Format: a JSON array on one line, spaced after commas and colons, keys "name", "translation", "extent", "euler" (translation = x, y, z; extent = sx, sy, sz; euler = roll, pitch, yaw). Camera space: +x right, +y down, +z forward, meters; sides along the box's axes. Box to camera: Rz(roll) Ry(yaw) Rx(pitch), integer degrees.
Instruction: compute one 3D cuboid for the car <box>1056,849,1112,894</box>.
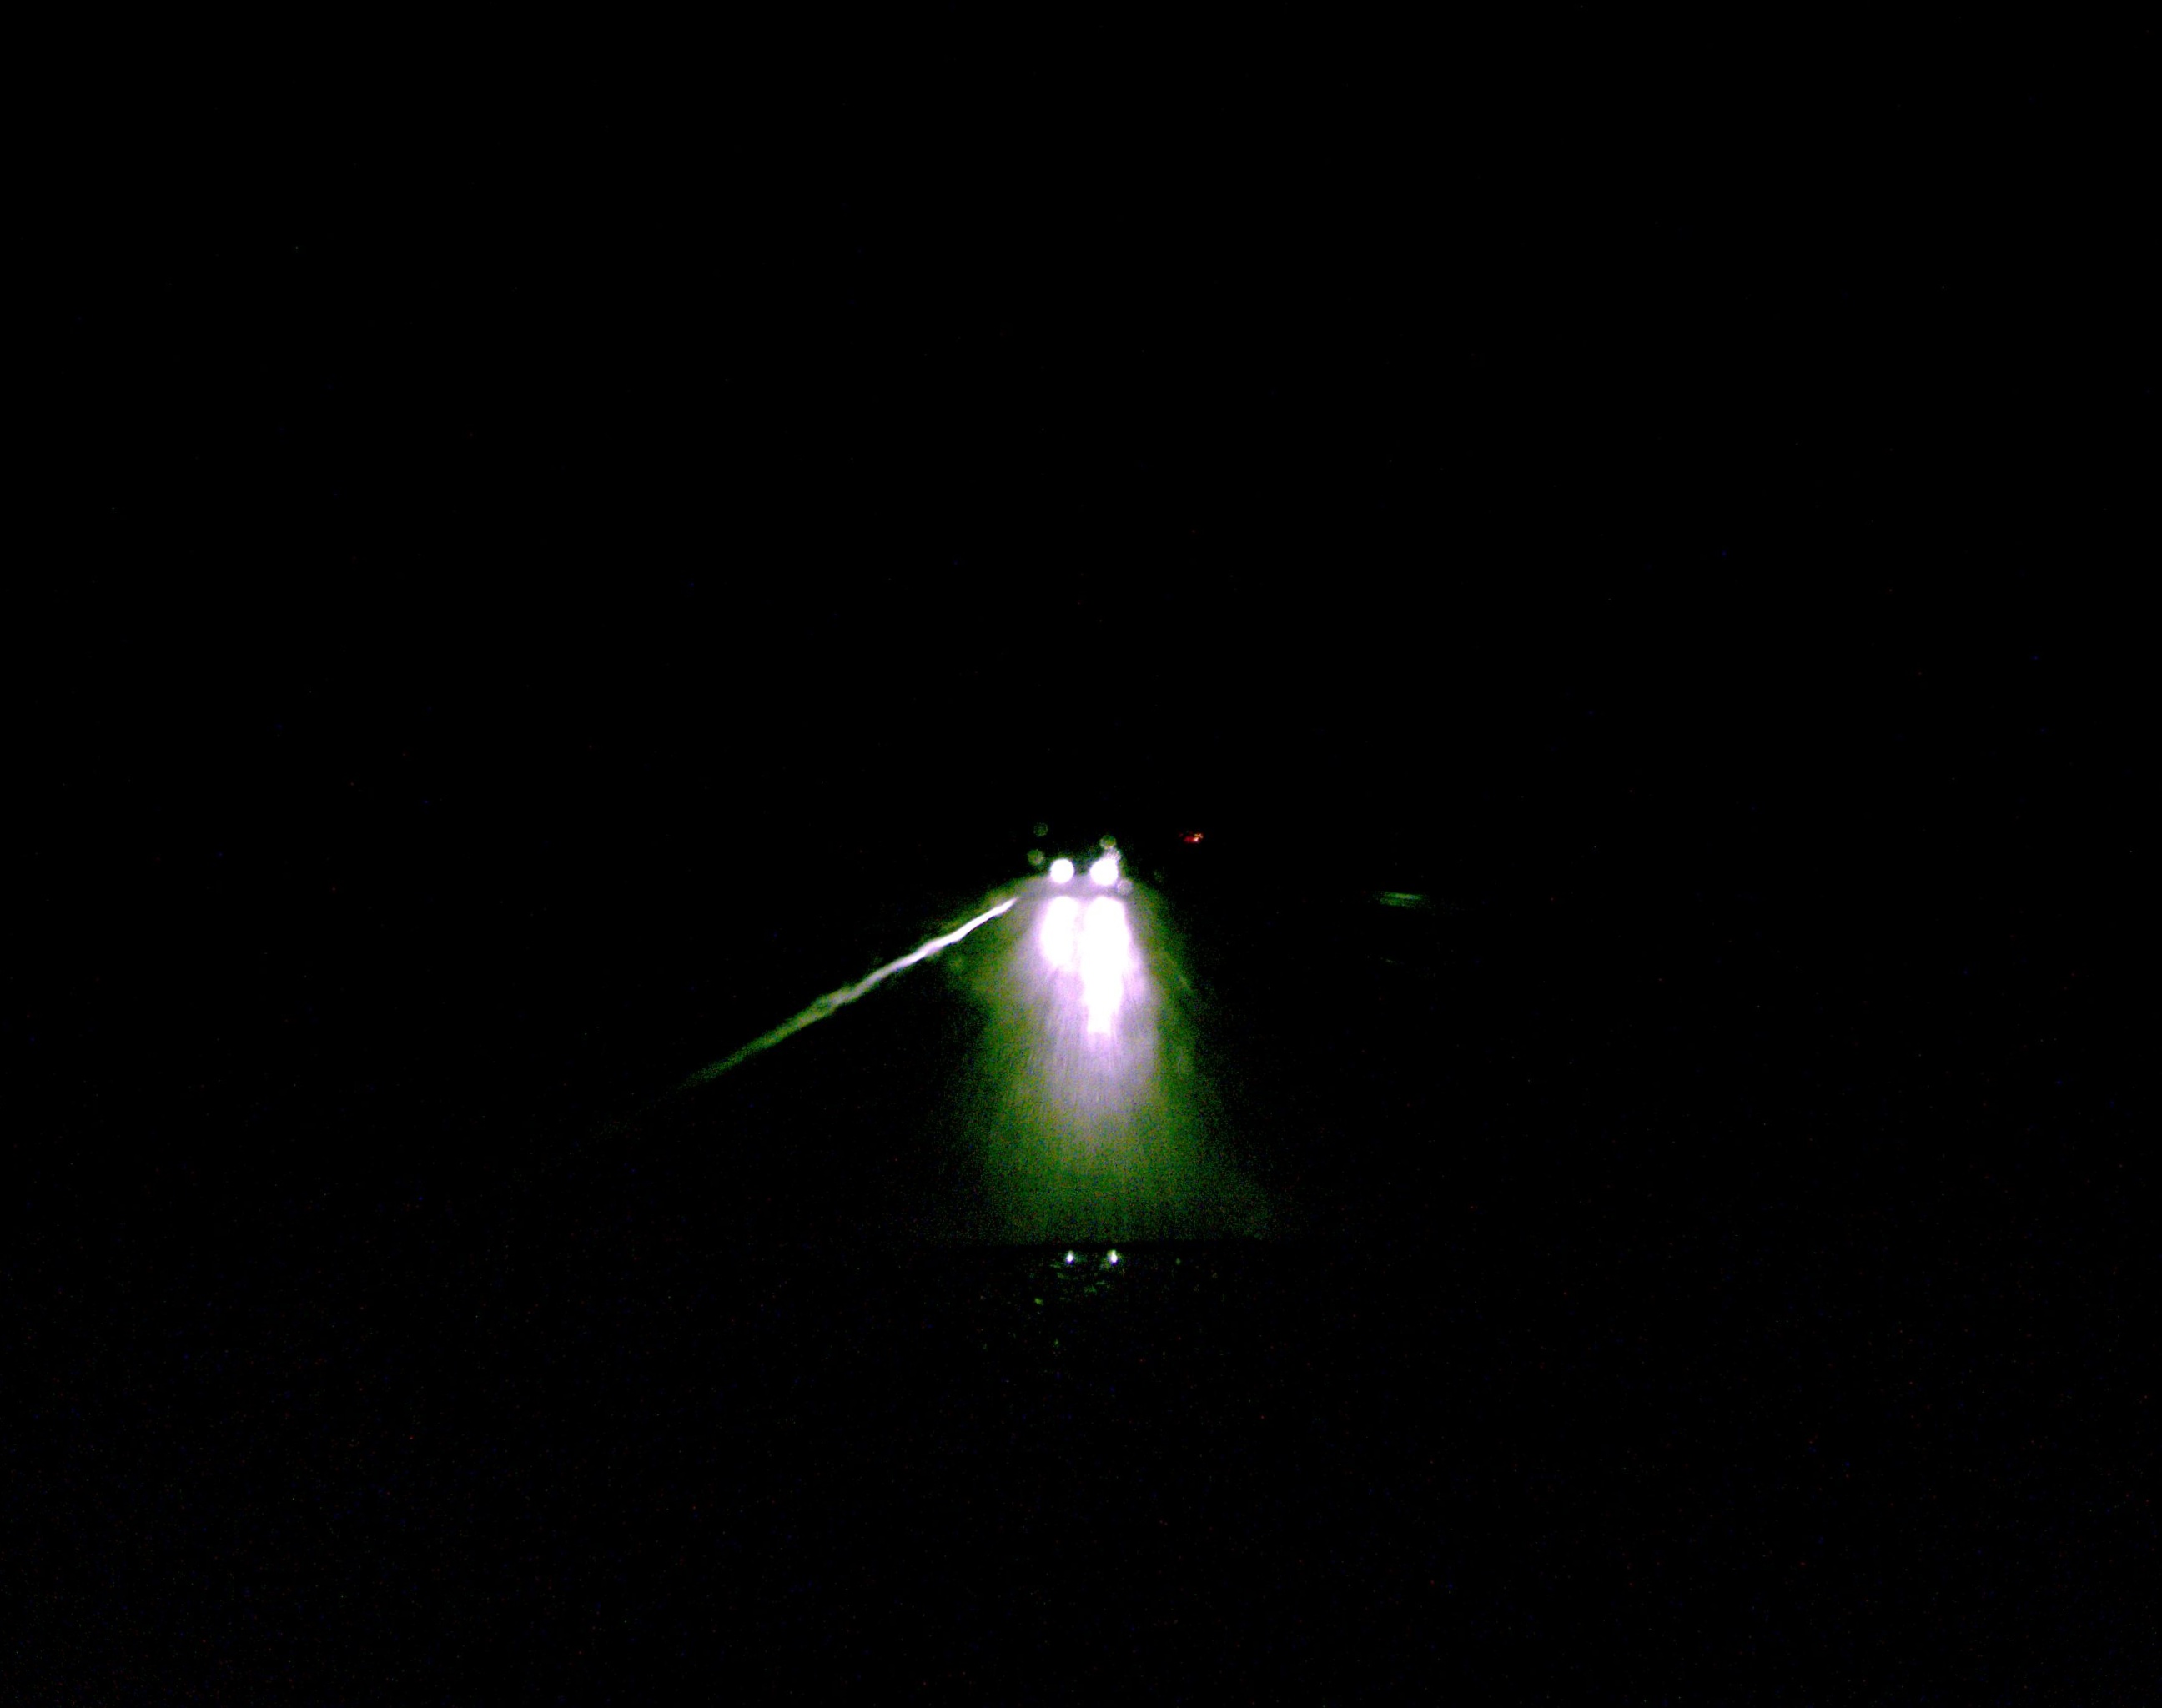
[{"name": "car", "translation": [0.196, 0.629, 29.506], "extent": [1.792, 1.593, 4.001], "euler": [-1, 0, 6]}]
